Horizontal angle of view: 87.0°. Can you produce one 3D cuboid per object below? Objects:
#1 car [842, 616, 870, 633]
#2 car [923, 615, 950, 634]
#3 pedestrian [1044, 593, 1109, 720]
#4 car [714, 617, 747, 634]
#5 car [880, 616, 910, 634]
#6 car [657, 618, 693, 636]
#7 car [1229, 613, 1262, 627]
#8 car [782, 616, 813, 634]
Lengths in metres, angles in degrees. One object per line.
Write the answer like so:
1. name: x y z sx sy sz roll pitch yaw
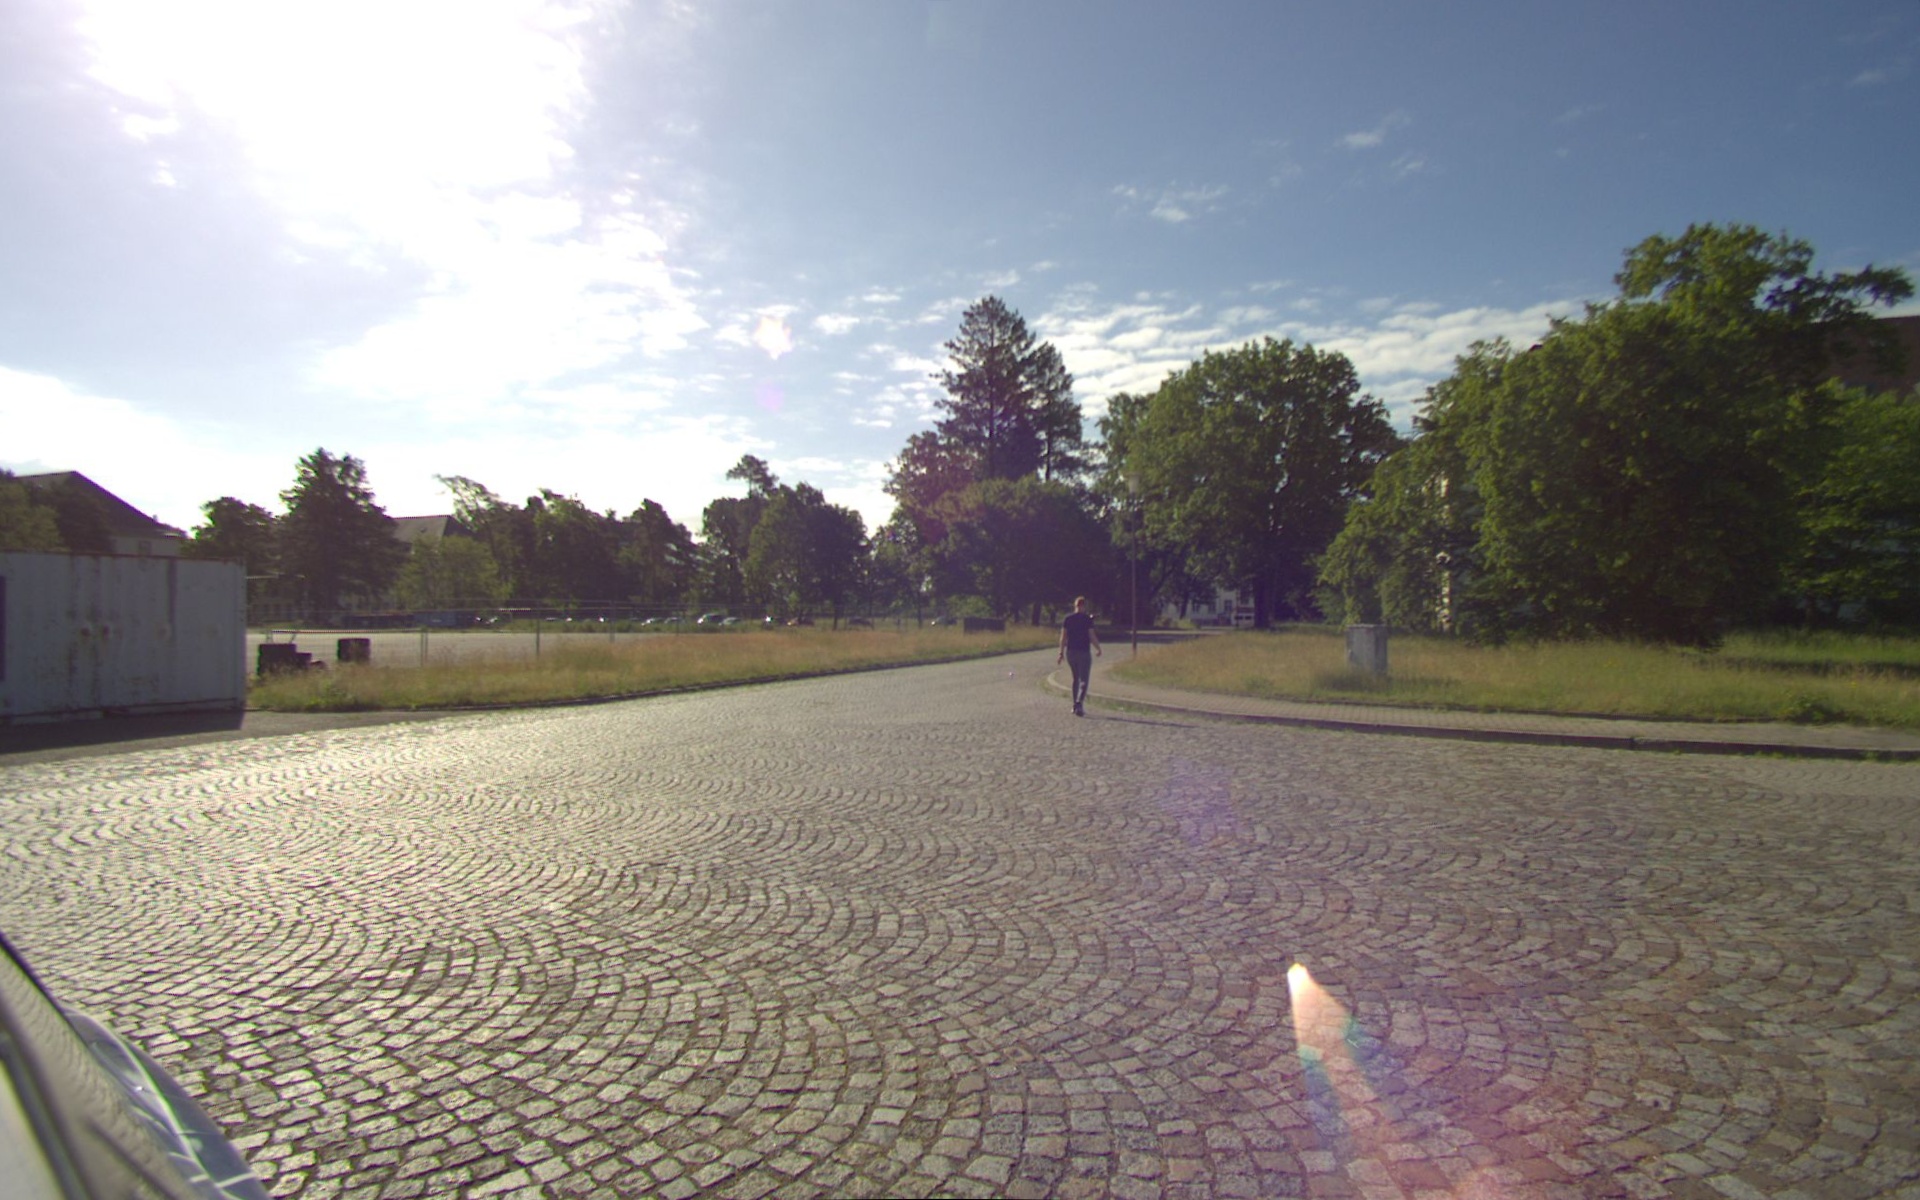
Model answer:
1. car: -11.568 2.689 112.551 1.980 1.829 3.983 0 -1 13
2. car: -2.497 2.607 108.855 1.980 2.029 3.983 -1 -1 13
3. pedestrian: 1.867 0.874 16.116 0.794 1.929 1.134 -1 -1 21
4. car: -26.880 2.949 118.580 1.983 1.962 3.977 0 -1 17
5. car: -7.127 2.732 111.277 1.983 2.029 3.977 -1 -1 17
6. car: -34.149 3.202 121.232 1.990 2.029 3.964 -4 -2 26
7. car: 44.363 3.149 157.175 4.837 2.111 1.987 -1 -1 20
8. car: -18.480 2.822 115.251 1.984 2.029 3.976 -1 -1 18
